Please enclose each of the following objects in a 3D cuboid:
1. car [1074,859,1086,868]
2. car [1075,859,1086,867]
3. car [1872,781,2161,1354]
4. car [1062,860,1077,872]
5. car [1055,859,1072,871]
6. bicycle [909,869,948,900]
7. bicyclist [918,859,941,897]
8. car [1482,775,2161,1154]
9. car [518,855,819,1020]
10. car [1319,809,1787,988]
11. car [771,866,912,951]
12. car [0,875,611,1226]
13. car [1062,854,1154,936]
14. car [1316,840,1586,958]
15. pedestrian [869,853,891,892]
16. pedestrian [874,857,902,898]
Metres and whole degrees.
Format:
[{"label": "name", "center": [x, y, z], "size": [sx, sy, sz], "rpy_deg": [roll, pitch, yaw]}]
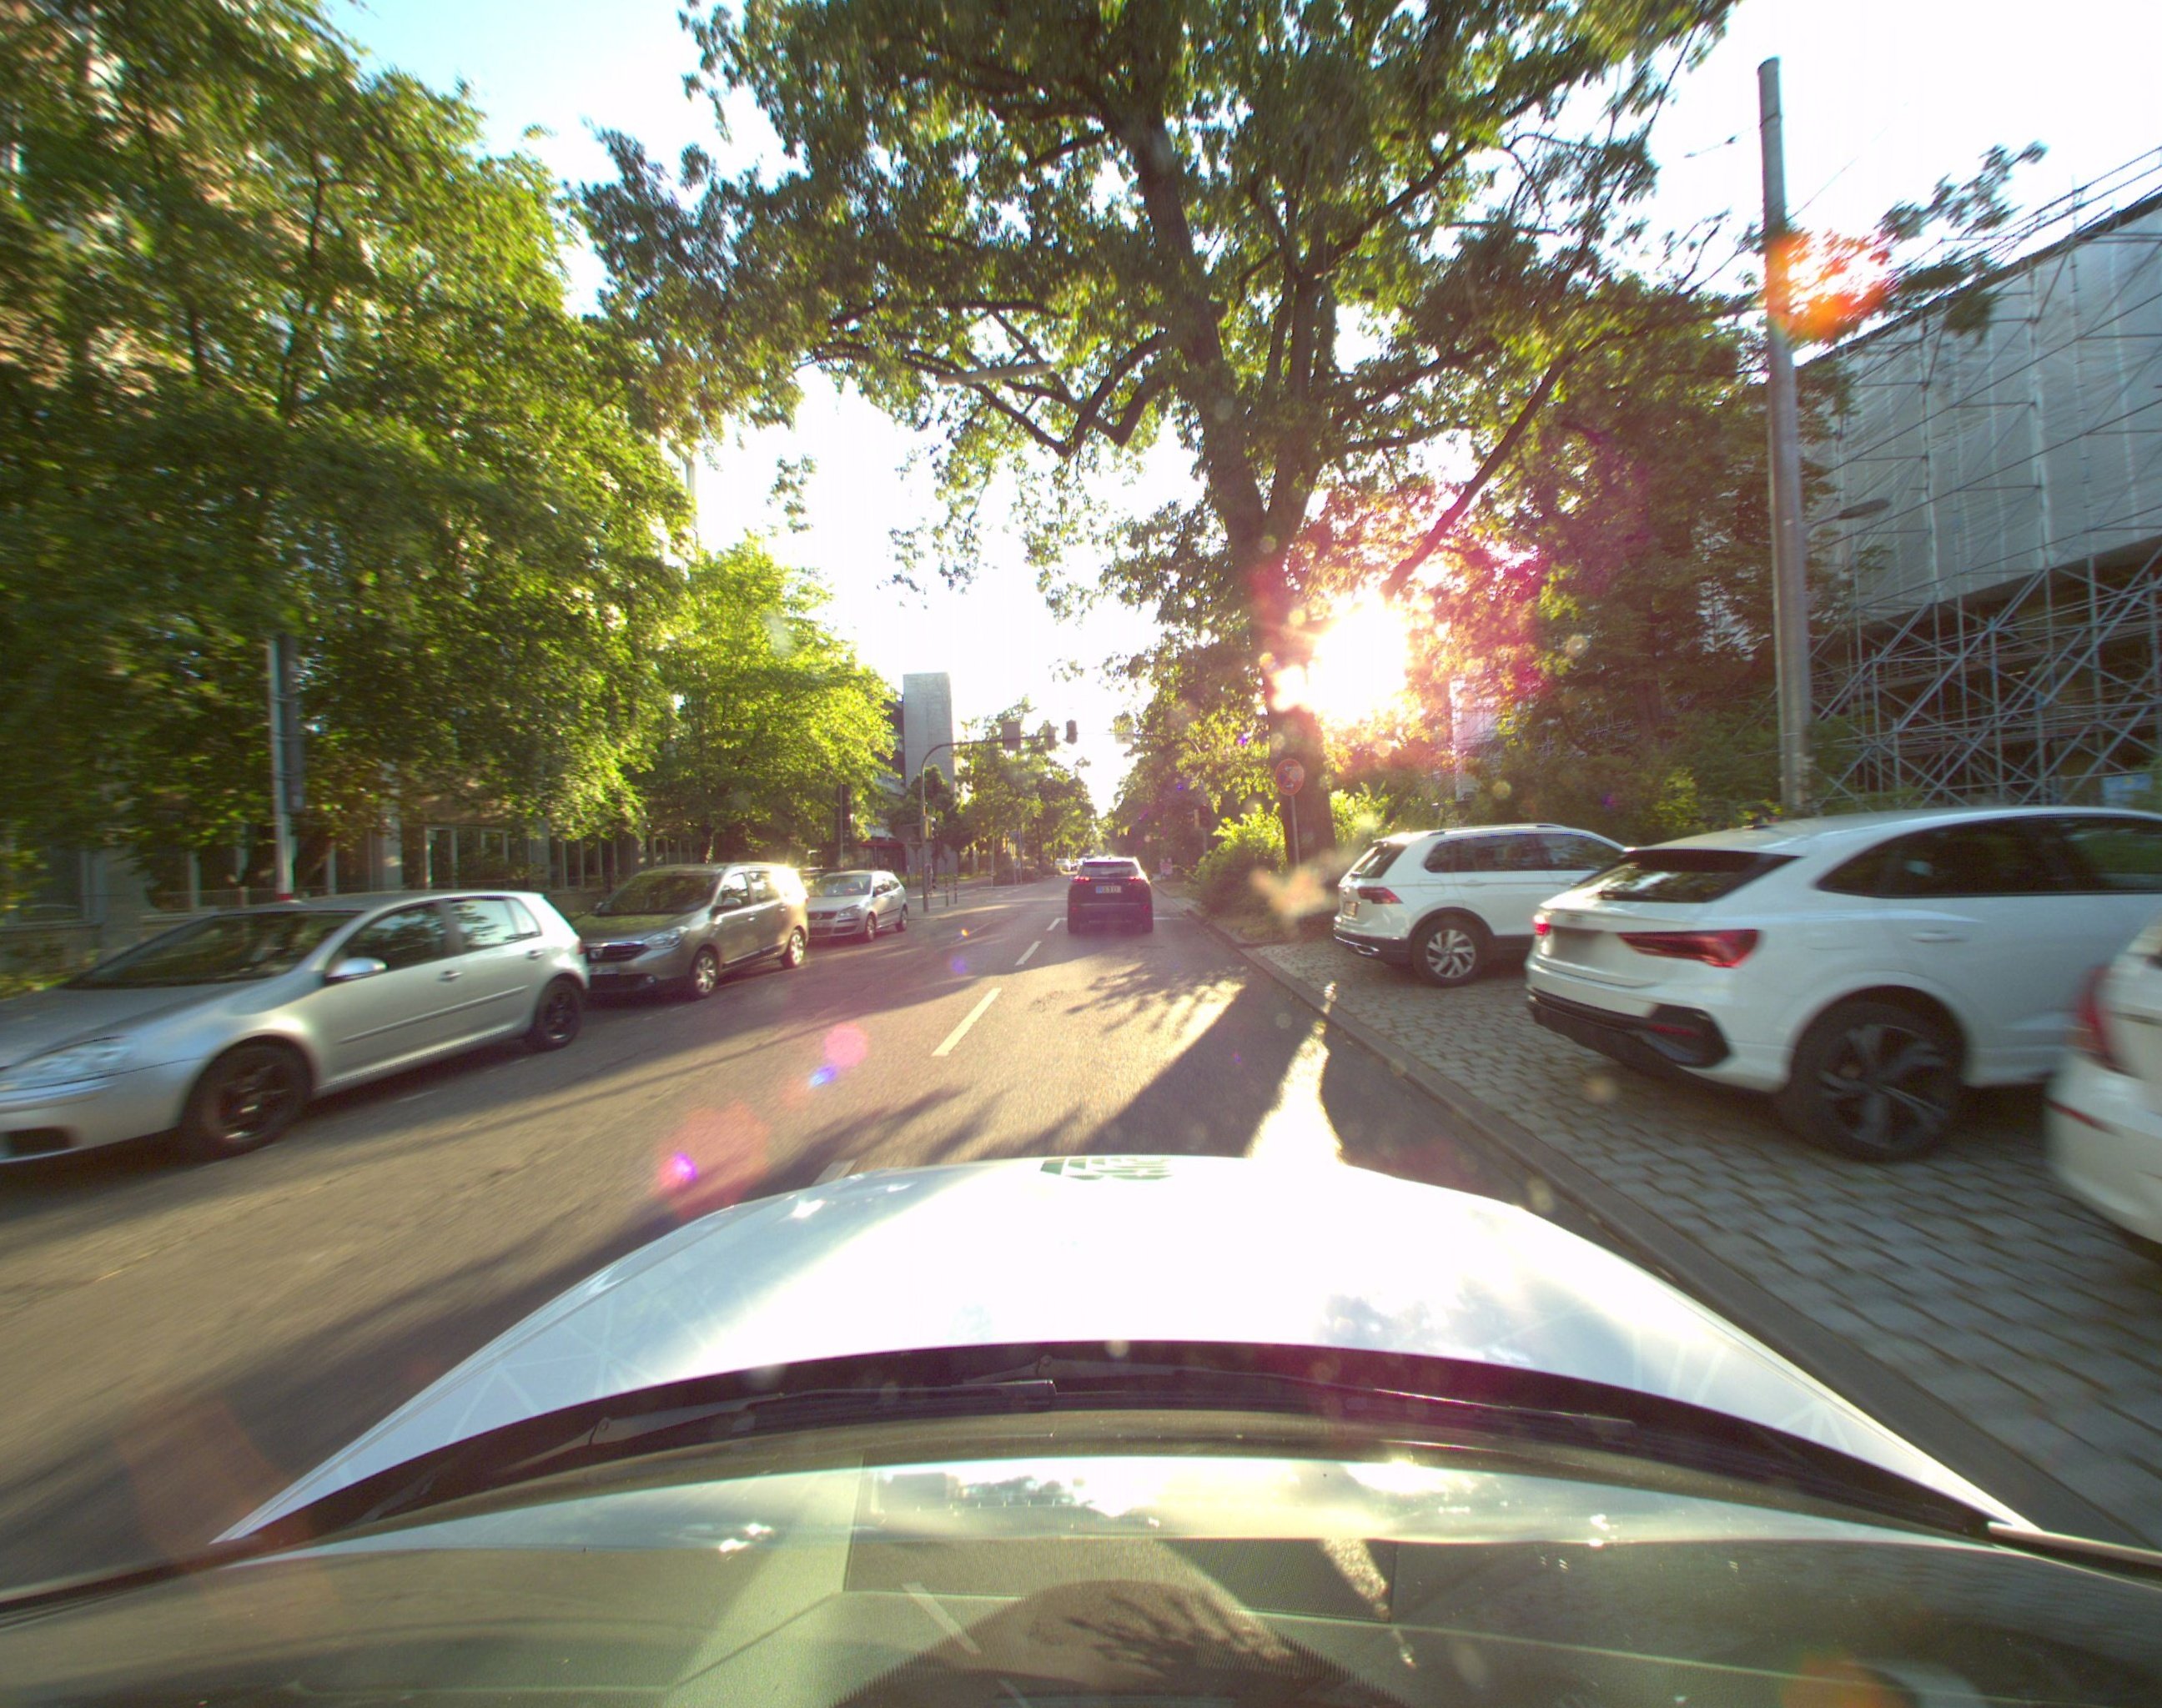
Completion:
[{"label": "car", "center": [-0.211, 1.578, 134.699], "size": [1.805, 1.354, 3.976], "rpy_deg": [-3, 0, -2]}, {"label": "car", "center": [-0.087, 1.620, 144.762], "size": [1.805, 1.354, 3.997], "rpy_deg": [-3, 0, -2]}, {"label": "car", "center": [4.724, 0.542, 2.080], "size": [3.574, 1.566, 1.819], "rpy_deg": [-1, 0, 2]}, {"label": "car", "center": [-1.479, 1.425, 100.863], "size": [1.805, 1.354, 3.997], "rpy_deg": [-3, 0, -2]}, {"label": "car", "center": [-2.039, 1.249, 94.630], "size": [1.806, 1.354, 3.996], "rpy_deg": [-3, 0, -3]}, {"label": "bicycle", "center": [-6.657, 1.335, 35.636], "size": [0.681, 1.249, 2.203], "rpy_deg": [-2, 0, 18]}, {"label": "bicyclist", "center": [-6.635, 1.042, 35.723], "size": [0.670, 1.603, 0.709], "rpy_deg": [-2, 0, 18]}, {"label": "car", "center": [4.716, 0.486, 4.527], "size": [4.106, 1.667, 1.724], "rpy_deg": [-1, 0, 2]}, {"label": "car", "center": [-5.310, 0.934, 11.256], "size": [1.672, 1.708, 4.343], "rpy_deg": [-4, 0, 3]}, {"label": "car", "center": [5.000, 0.474, 9.198], "size": [4.149, 1.710, 1.870], "rpy_deg": [-2, 0, 6]}, {"label": "car", "center": [-5.033, 1.090, 17.696], "size": [1.672, 1.457, 3.884], "rpy_deg": [-4, 0, 3]}, {"label": "car", "center": [-5.519, 1.016, 5.863], "size": [1.664, 1.493, 4.064], "rpy_deg": [-4, 0, 3]}, {"label": "car", "center": [0.580, 0.808, 17.711], "size": [1.762, 1.568, 3.381], "rpy_deg": [-2, 0, 1]}, {"label": "car", "center": [5.336, 0.604, 11.976], "size": [3.188, 1.493, 1.681], "rpy_deg": [-2, 0, -6]}, {"label": "pedestrian", "center": [-8.829, 0.790, 35.841], "size": [0.703, 1.662, 0.716], "rpy_deg": [-3, 0, 0]}, {"label": "pedestrian", "center": [-8.759, 1.063, 37.014], "size": [0.950, 1.823, 0.823], "rpy_deg": [-3, 0, 3]}]
